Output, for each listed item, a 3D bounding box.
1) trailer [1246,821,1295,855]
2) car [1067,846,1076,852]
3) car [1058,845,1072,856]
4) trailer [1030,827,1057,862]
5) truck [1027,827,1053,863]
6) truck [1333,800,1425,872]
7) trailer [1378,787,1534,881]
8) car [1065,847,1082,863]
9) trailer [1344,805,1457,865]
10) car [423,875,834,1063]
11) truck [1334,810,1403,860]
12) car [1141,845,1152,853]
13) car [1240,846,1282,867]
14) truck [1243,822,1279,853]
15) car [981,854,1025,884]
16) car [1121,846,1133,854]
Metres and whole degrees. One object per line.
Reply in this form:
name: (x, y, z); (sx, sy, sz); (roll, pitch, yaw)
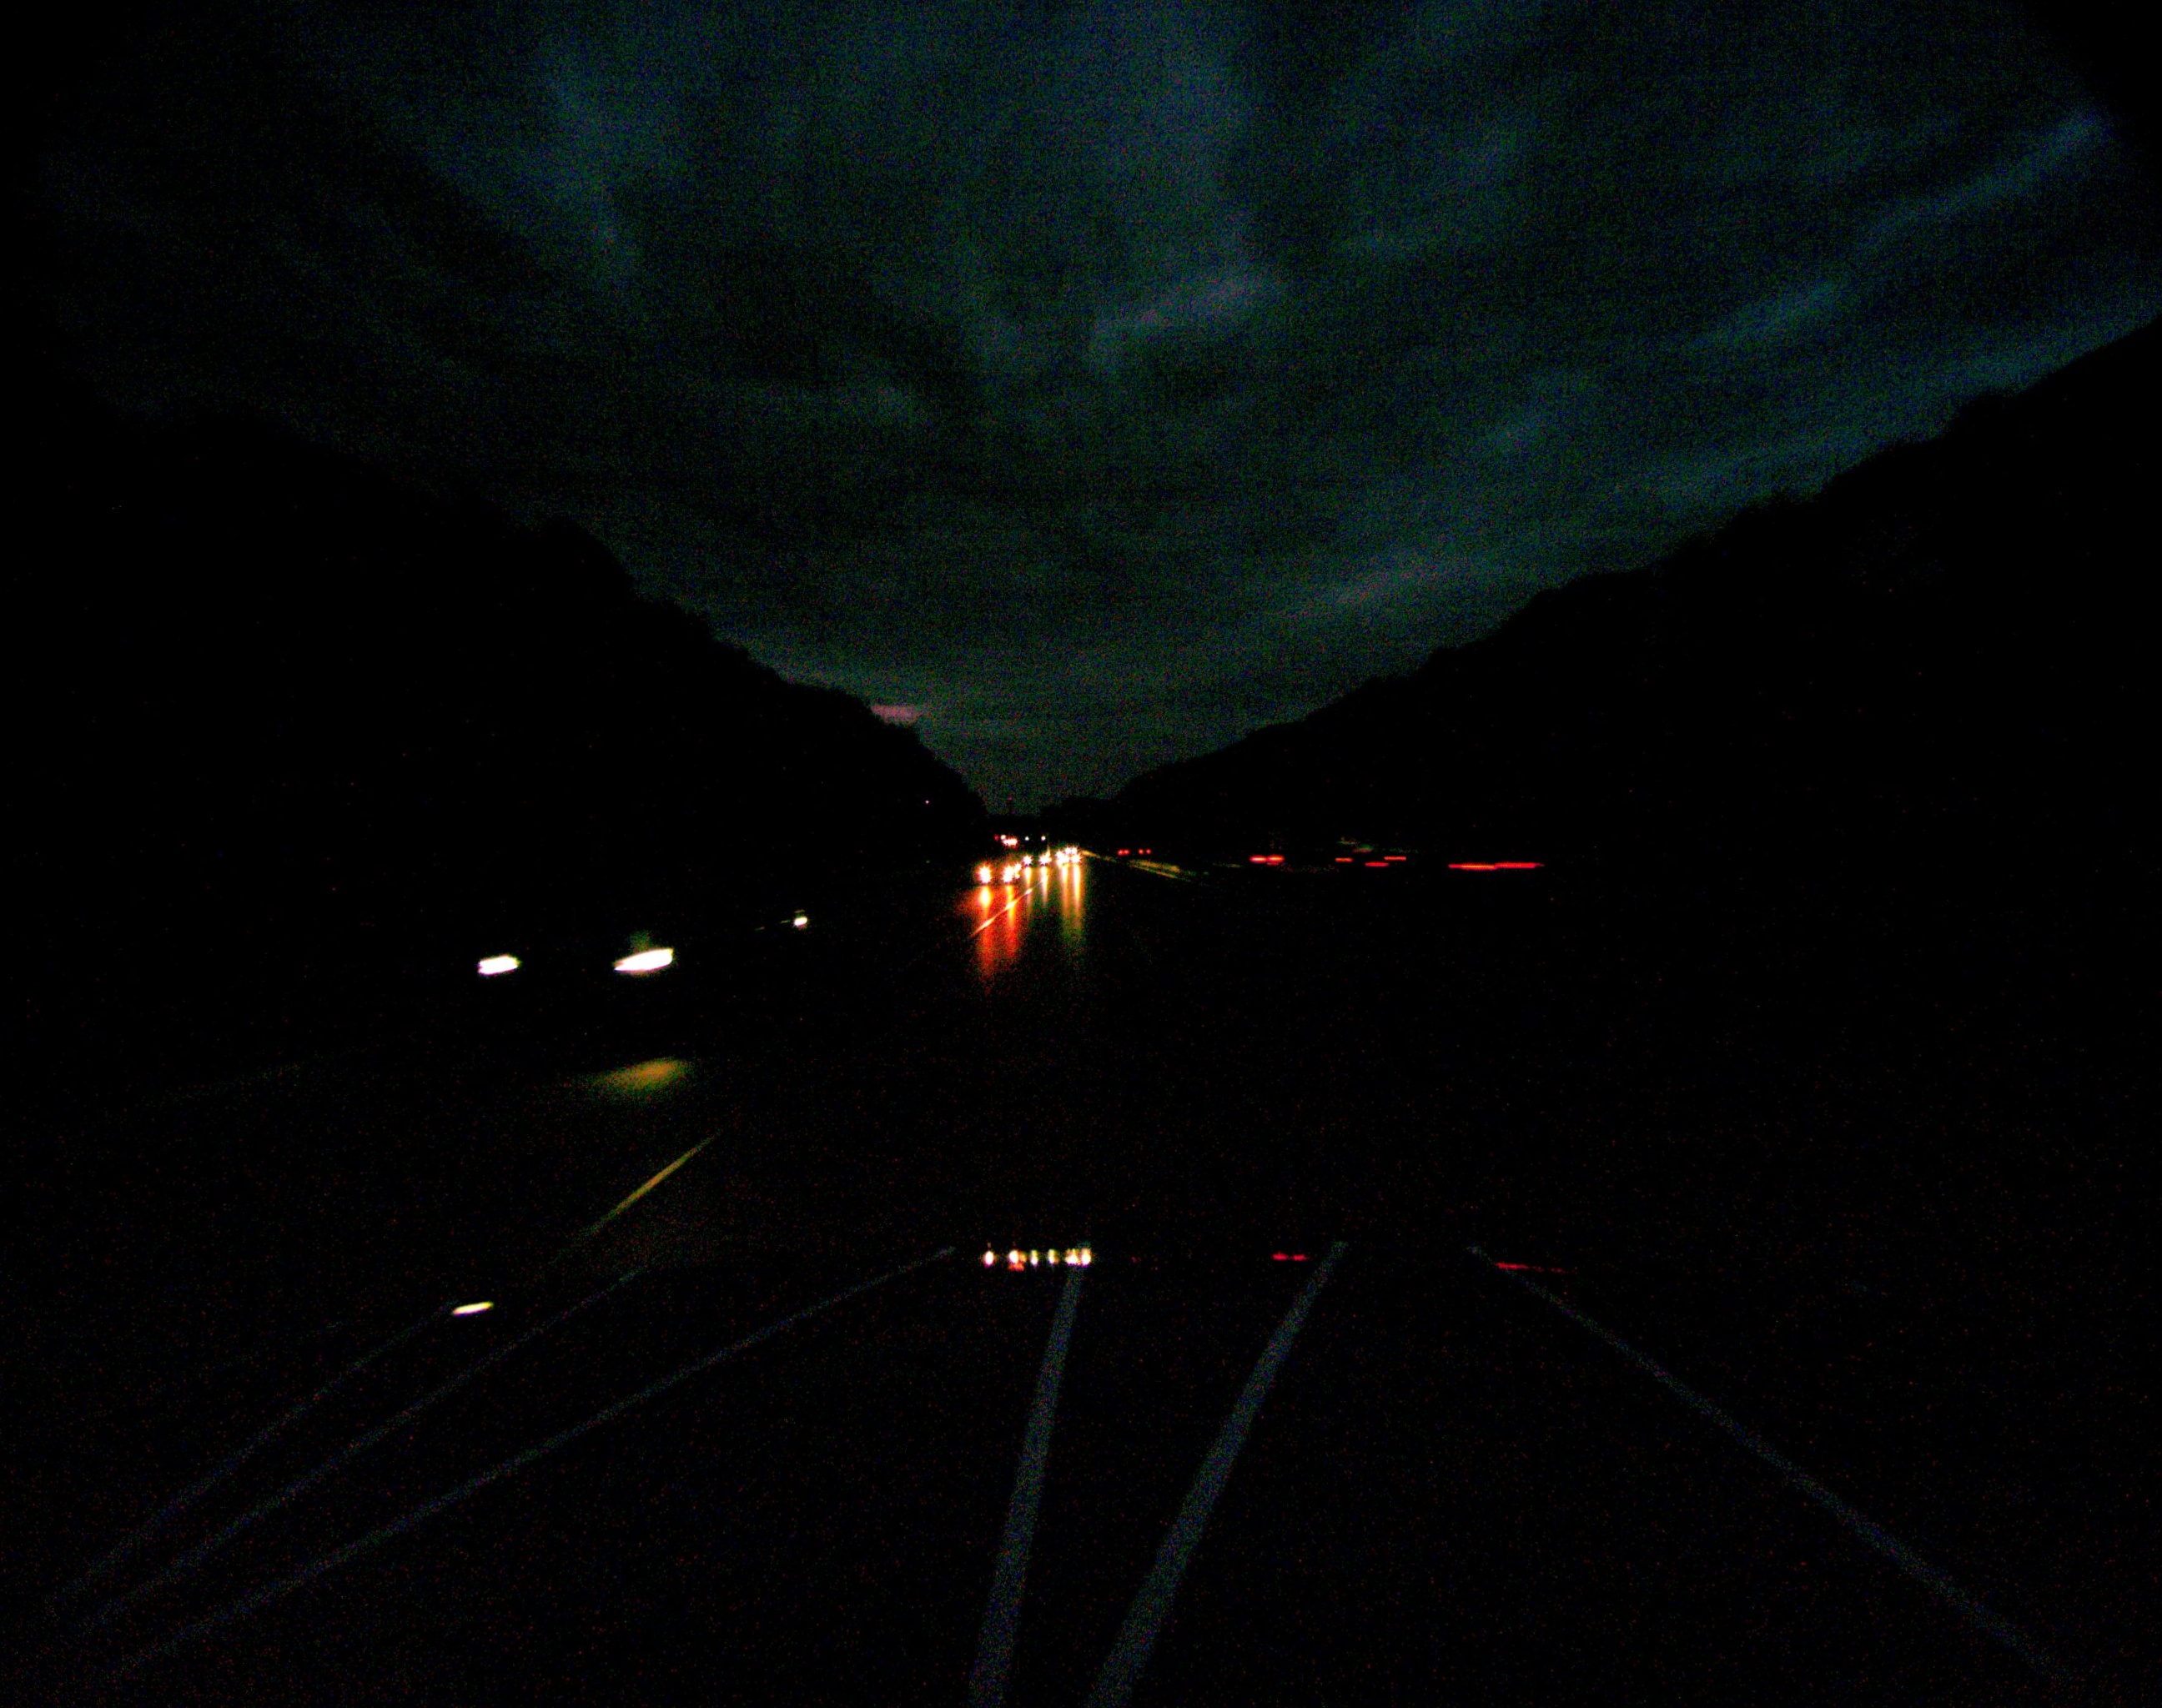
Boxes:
trailer: (25.012, -2.169, 101.255); (3.199, 4.081, 13.736); (-2, 1, 1)
car: (-2.416, -1.359, 192.870); (1.696, 1.481, 4.945); (-1, 1, -6)
car: (-2.876, -0.603, 135.247); (1.924, 1.706, 4.938); (-3, 2, -7)
trailer: (-4.628, -1.412, 97.225); (2.489, 4.051, 13.499); (-2, 2, 1)
truck: (-4.746, -1.099, 89.820); (2.498, 3.946, 5.588); (-2, 2, 1)
truck: (17.744, -1.023, 45.791); (2.654, 3.949, 7.120); (-1, 1, -1)
trailer: (17.792, -0.903, 37.110); (2.653, 3.908, 10.184); (-1, 1, 1)
car: (-0.867, 0.104, 91.114); (1.870, 1.701, 4.583); (-3, 1, 2)
trailer: (25.074, -1.504, 60.785); (3.199, 4.081, 14.180); (-2, 1, 1)
car: (-4.548, 1.032, 8.675); (1.870, 1.427, 4.584); (-3, -1, 0)
truck: (25.163, -1.665, 66.979); (3.199, 4.082, 7.687); (-2, 1, 1)
car: (12.454, -0.956, 144.484); (1.690, 1.506, 4.413); (-2, 1, 0)
car: (13.566, 0.180, 57.520); (1.915, 1.443, 5.353); (-1, 1, 1)
truck: (25.124, -2.269, 106.440); (3.199, 4.082, 7.687); (-2, 1, 1)
car: (-4.243, 0.776, 42.056); (1.695, 1.481, 4.949); (-3, 0, 2)
car: (8.776, -0.741, 145.928); (1.855, 1.373, 4.643); (-2, 0, -2)
